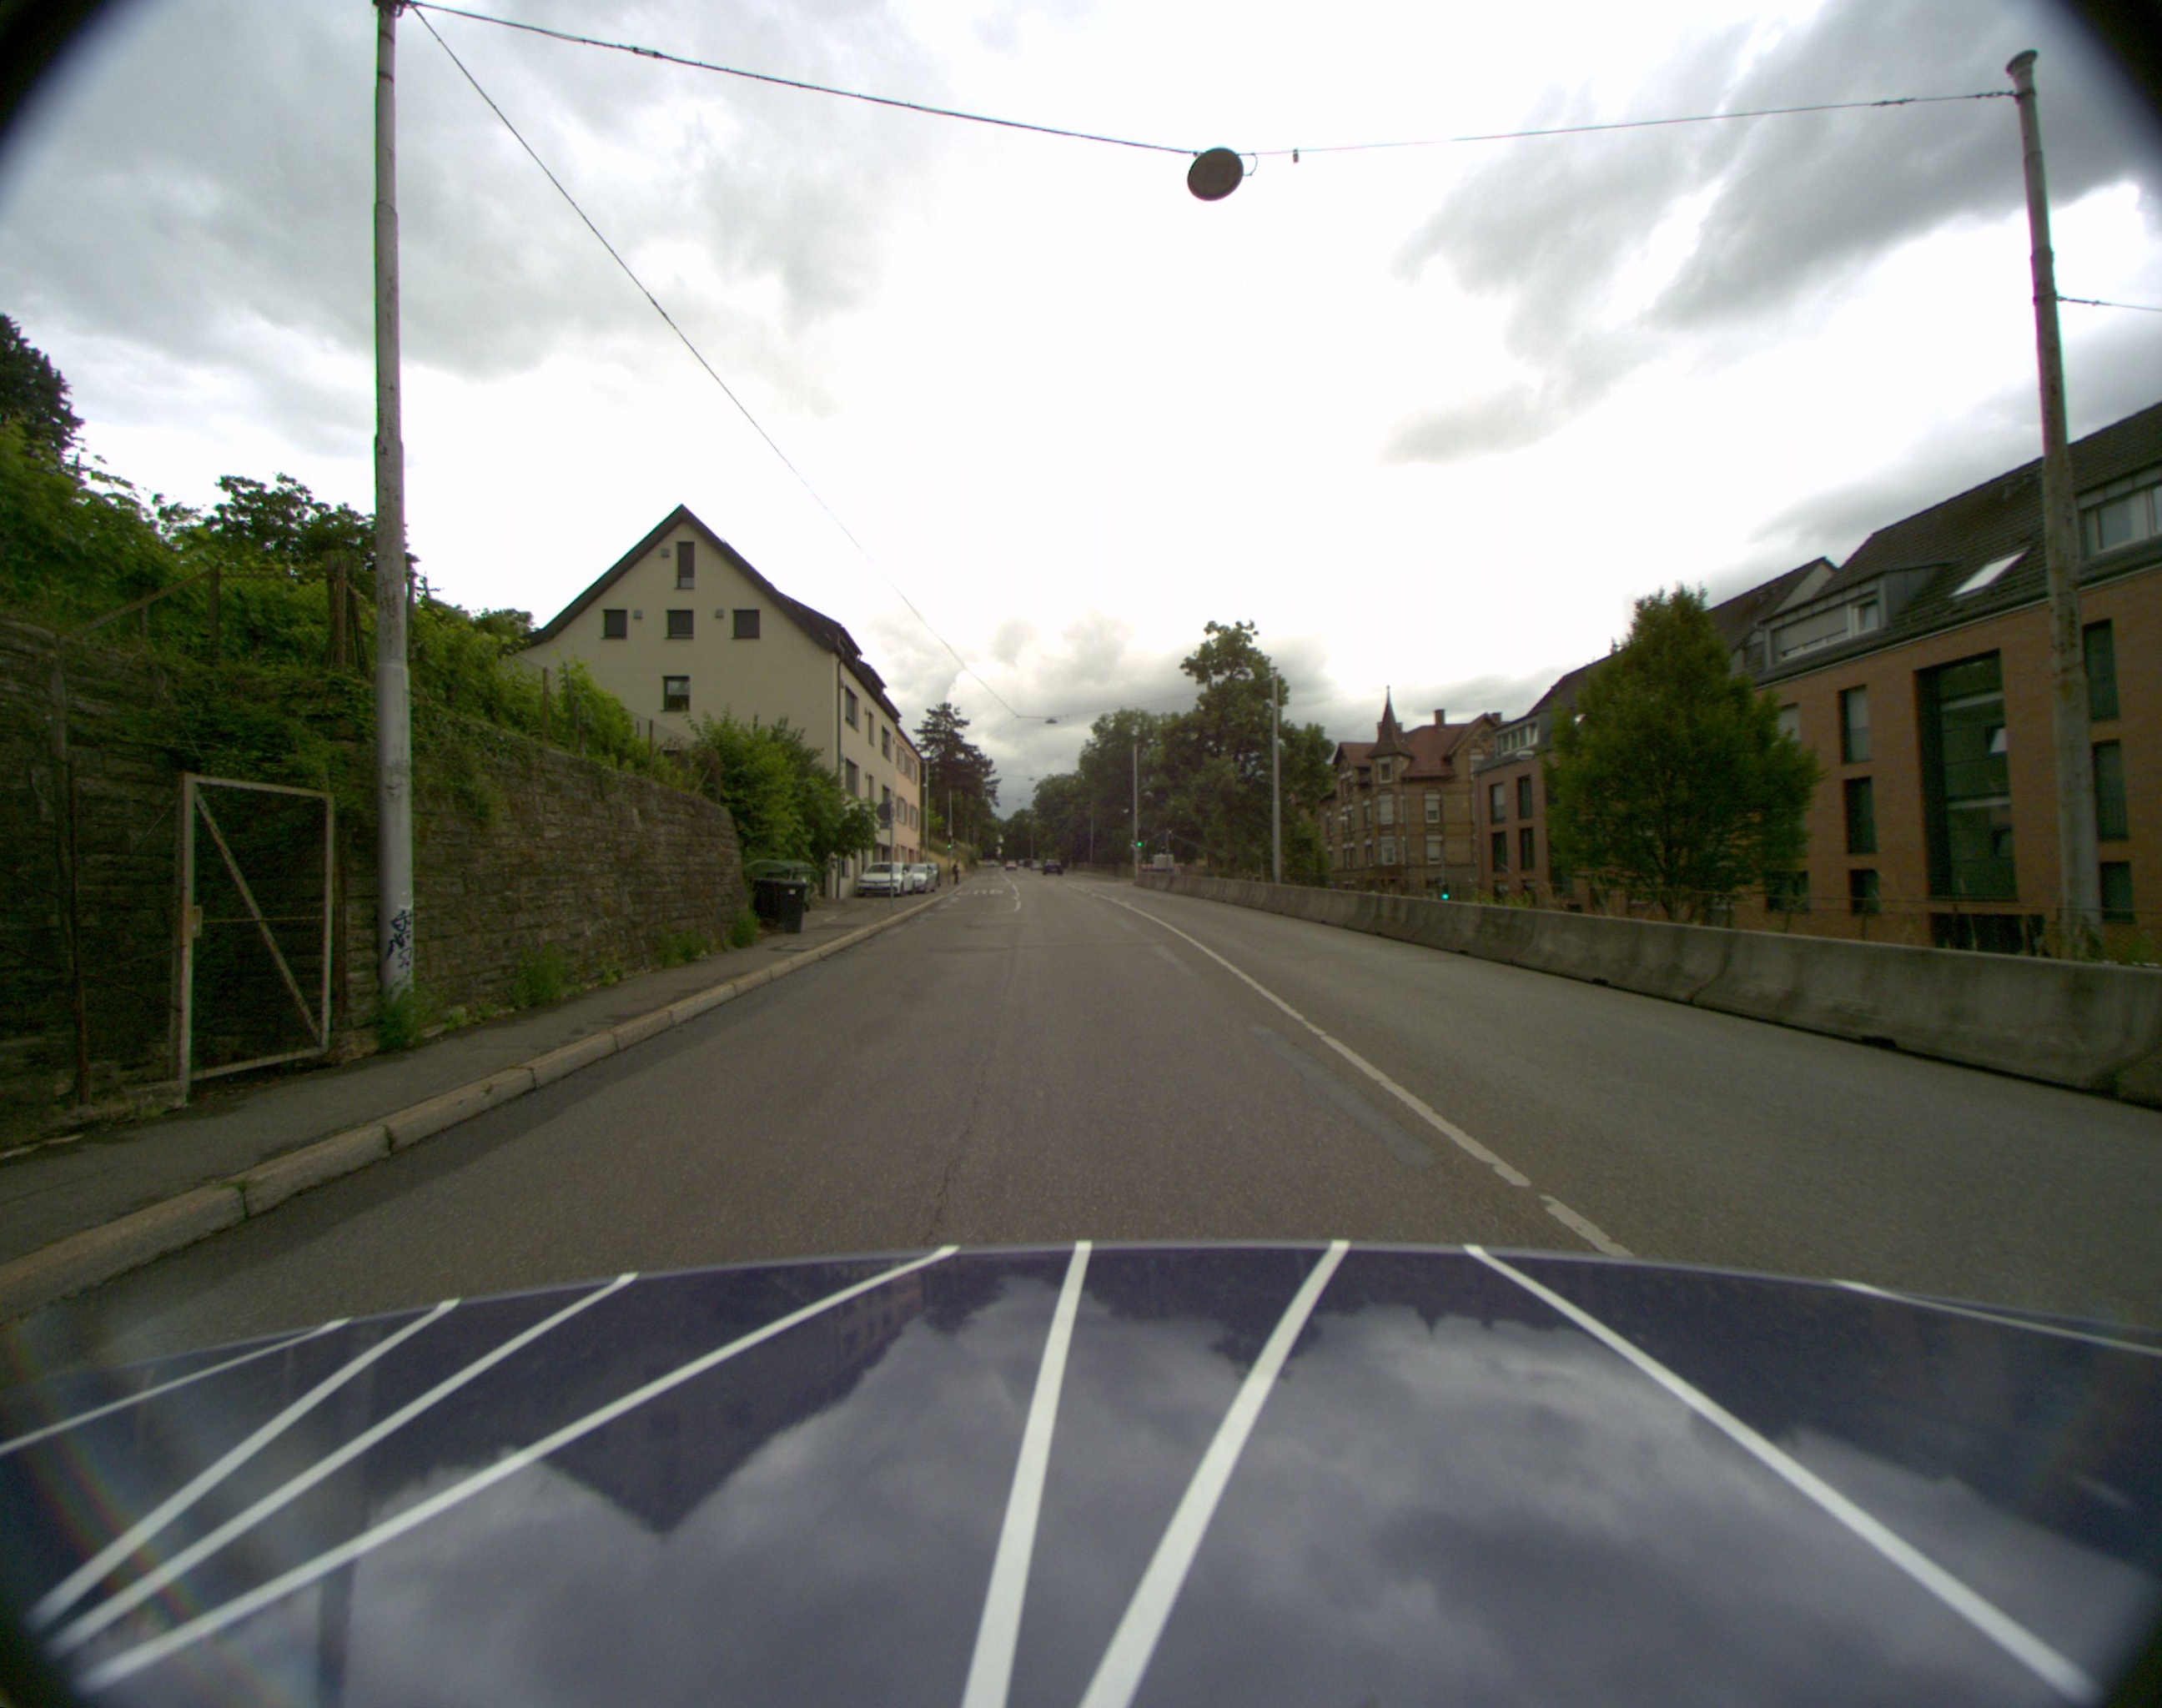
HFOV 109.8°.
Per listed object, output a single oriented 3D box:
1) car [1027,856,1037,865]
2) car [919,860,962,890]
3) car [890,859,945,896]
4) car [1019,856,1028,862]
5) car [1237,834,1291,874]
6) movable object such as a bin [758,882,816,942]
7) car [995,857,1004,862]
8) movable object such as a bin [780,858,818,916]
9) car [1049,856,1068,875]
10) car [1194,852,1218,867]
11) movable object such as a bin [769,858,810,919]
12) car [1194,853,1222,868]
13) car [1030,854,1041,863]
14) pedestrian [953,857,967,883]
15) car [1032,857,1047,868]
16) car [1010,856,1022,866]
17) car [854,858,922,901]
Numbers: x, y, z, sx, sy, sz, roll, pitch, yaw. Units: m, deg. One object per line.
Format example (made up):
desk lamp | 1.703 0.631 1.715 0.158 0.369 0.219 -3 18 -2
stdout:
car | -9.698 1.262 150.271 1.999 1.838 3.999 -2 0 -3
car | -8.268 1.179 45.049 1.909 1.566 4.247 -2 1 -3
car | -7.809 1.078 36.593 1.732 1.566 4.248 -2 1 -1
car | -14.643 1.302 194.387 1.998 1.521 4.000 -2 0 1
car | 12.943 -0.022 54.045 2.565 2.567 5.735 -2 1 2
movable object such as a bin | -5.854 1.144 15.176 0.811 1.120 0.874 -1 0 -2
car | -22.906 1.486 214.156 1.999 1.455 3.999 -2 0 -1
movable object such as a bin | -7.777 0.889 20.994 0.753 1.533 1.064 -2 0 -8
car | -2.392 1.213 79.128 1.787 1.871 3.998 -2 0 -4
car | 13.906 0.601 84.900 1.999 1.543 3.999 -1 0 -1
movable object such as a bin | -7.617 0.887 19.889 0.753 1.537 1.064 -2 0 -8
car | 12.106 0.585 72.582 1.999 1.346 4.000 0 0 -1
car | -8.411 0.849 141.290 1.999 1.652 3.998 -2 0 -4
pedestrian | -8.058 1.057 50.674 0.735 1.702 0.696 -1 0 2
car | -6.205 1.308 114.830 1.998 1.652 4.000 -1 0 1
car | -9.812 1.124 114.215 1.646 1.429 3.999 -1 -1 -3
car | -7.977 1.026 31.777 1.799 1.566 4.054 -2 1 -1
